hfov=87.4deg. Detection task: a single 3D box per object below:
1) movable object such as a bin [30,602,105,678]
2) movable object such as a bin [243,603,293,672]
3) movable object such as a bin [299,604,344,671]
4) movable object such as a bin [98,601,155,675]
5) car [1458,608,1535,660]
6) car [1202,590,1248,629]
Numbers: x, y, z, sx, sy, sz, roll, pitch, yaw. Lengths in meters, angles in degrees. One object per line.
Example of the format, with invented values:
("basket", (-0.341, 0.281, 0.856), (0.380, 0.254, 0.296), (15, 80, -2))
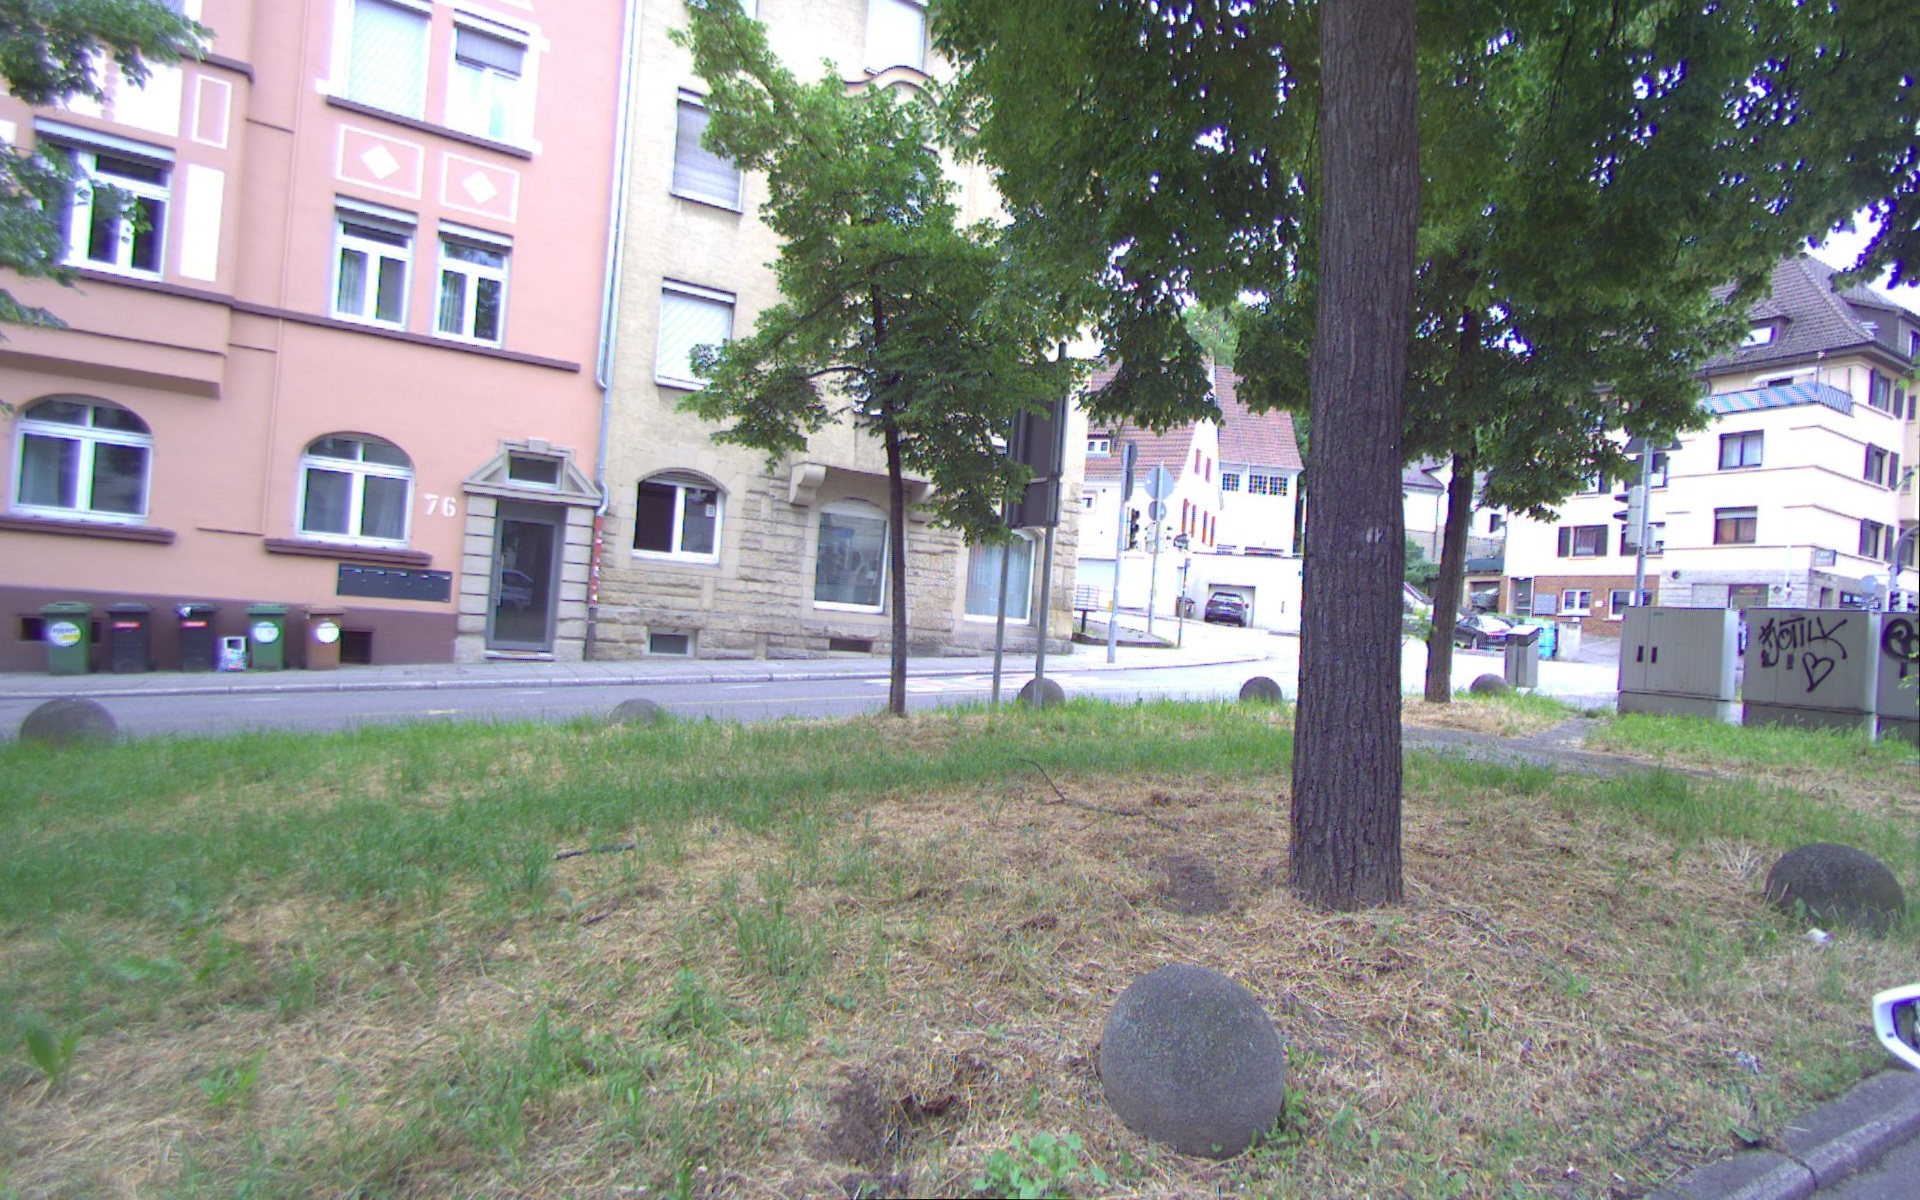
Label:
("movable object such as a bin", (-11.661, 0.513, 13.141), (0.611, 0.961, 0.613), (2, 0, -31))
("movable object such as a bin", (-9.806, 0.523, 14.245), (0.554, 0.934, 0.649), (2, 0, -34))
("movable object such as a bin", (-9.272, 0.540, 14.573), (0.510, 0.934, 0.752), (2, 0, -34))
("movable object such as a bin", (-11.165, 0.507, 13.473), (0.528, 0.958, 0.576), (2, 0, -36))
("car", (21.891, 1.334, 41.135), (1.832, 1.619, 3.519), (2, 6, 13))
("car", (11.779, 0.378, 44.794), (1.638, 1.424, 3.058), (7, 3, 11))
